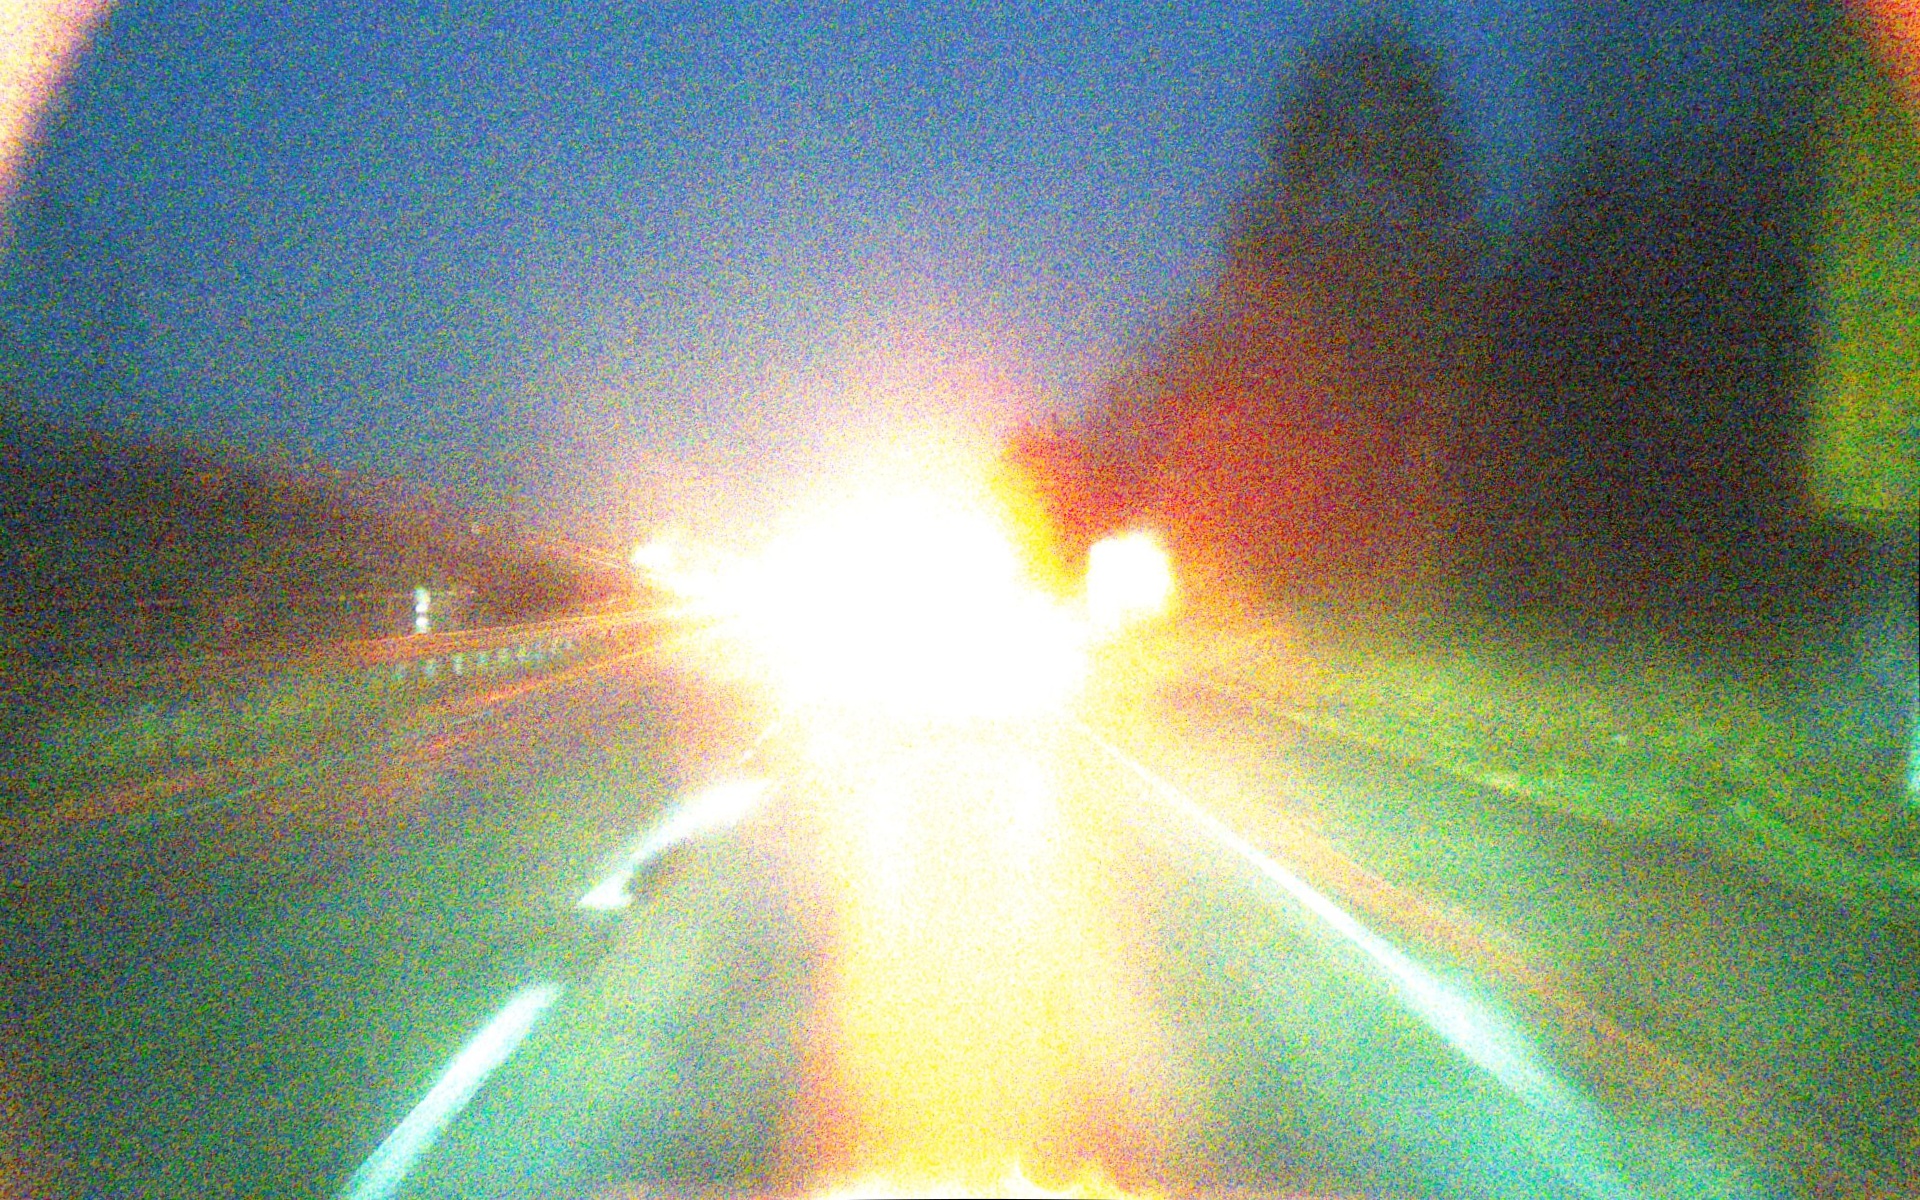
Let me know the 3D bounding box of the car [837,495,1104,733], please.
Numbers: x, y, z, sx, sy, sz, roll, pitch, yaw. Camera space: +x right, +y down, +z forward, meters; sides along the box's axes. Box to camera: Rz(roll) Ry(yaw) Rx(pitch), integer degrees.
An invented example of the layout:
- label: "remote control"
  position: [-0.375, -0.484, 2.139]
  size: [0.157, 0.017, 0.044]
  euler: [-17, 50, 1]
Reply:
- label: "car"
  position: [0.033, 0.108, 19.720]
  size: [2.660, 2.348, 6.099]
  euler: [1, 1, -2]

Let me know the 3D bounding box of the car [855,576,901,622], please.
- label: "car"
  position: [-3.671, -0.042, 74.704]
  size: [1.953, 1.948, 3.998]
  euler: [2, 0, -2]

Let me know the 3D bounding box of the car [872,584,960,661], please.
- label: "car"
  position: [-1.140, 0.500, 40.547]
  size: [1.842, 1.607, 4.781]
  euler: [5, 0, -4]
